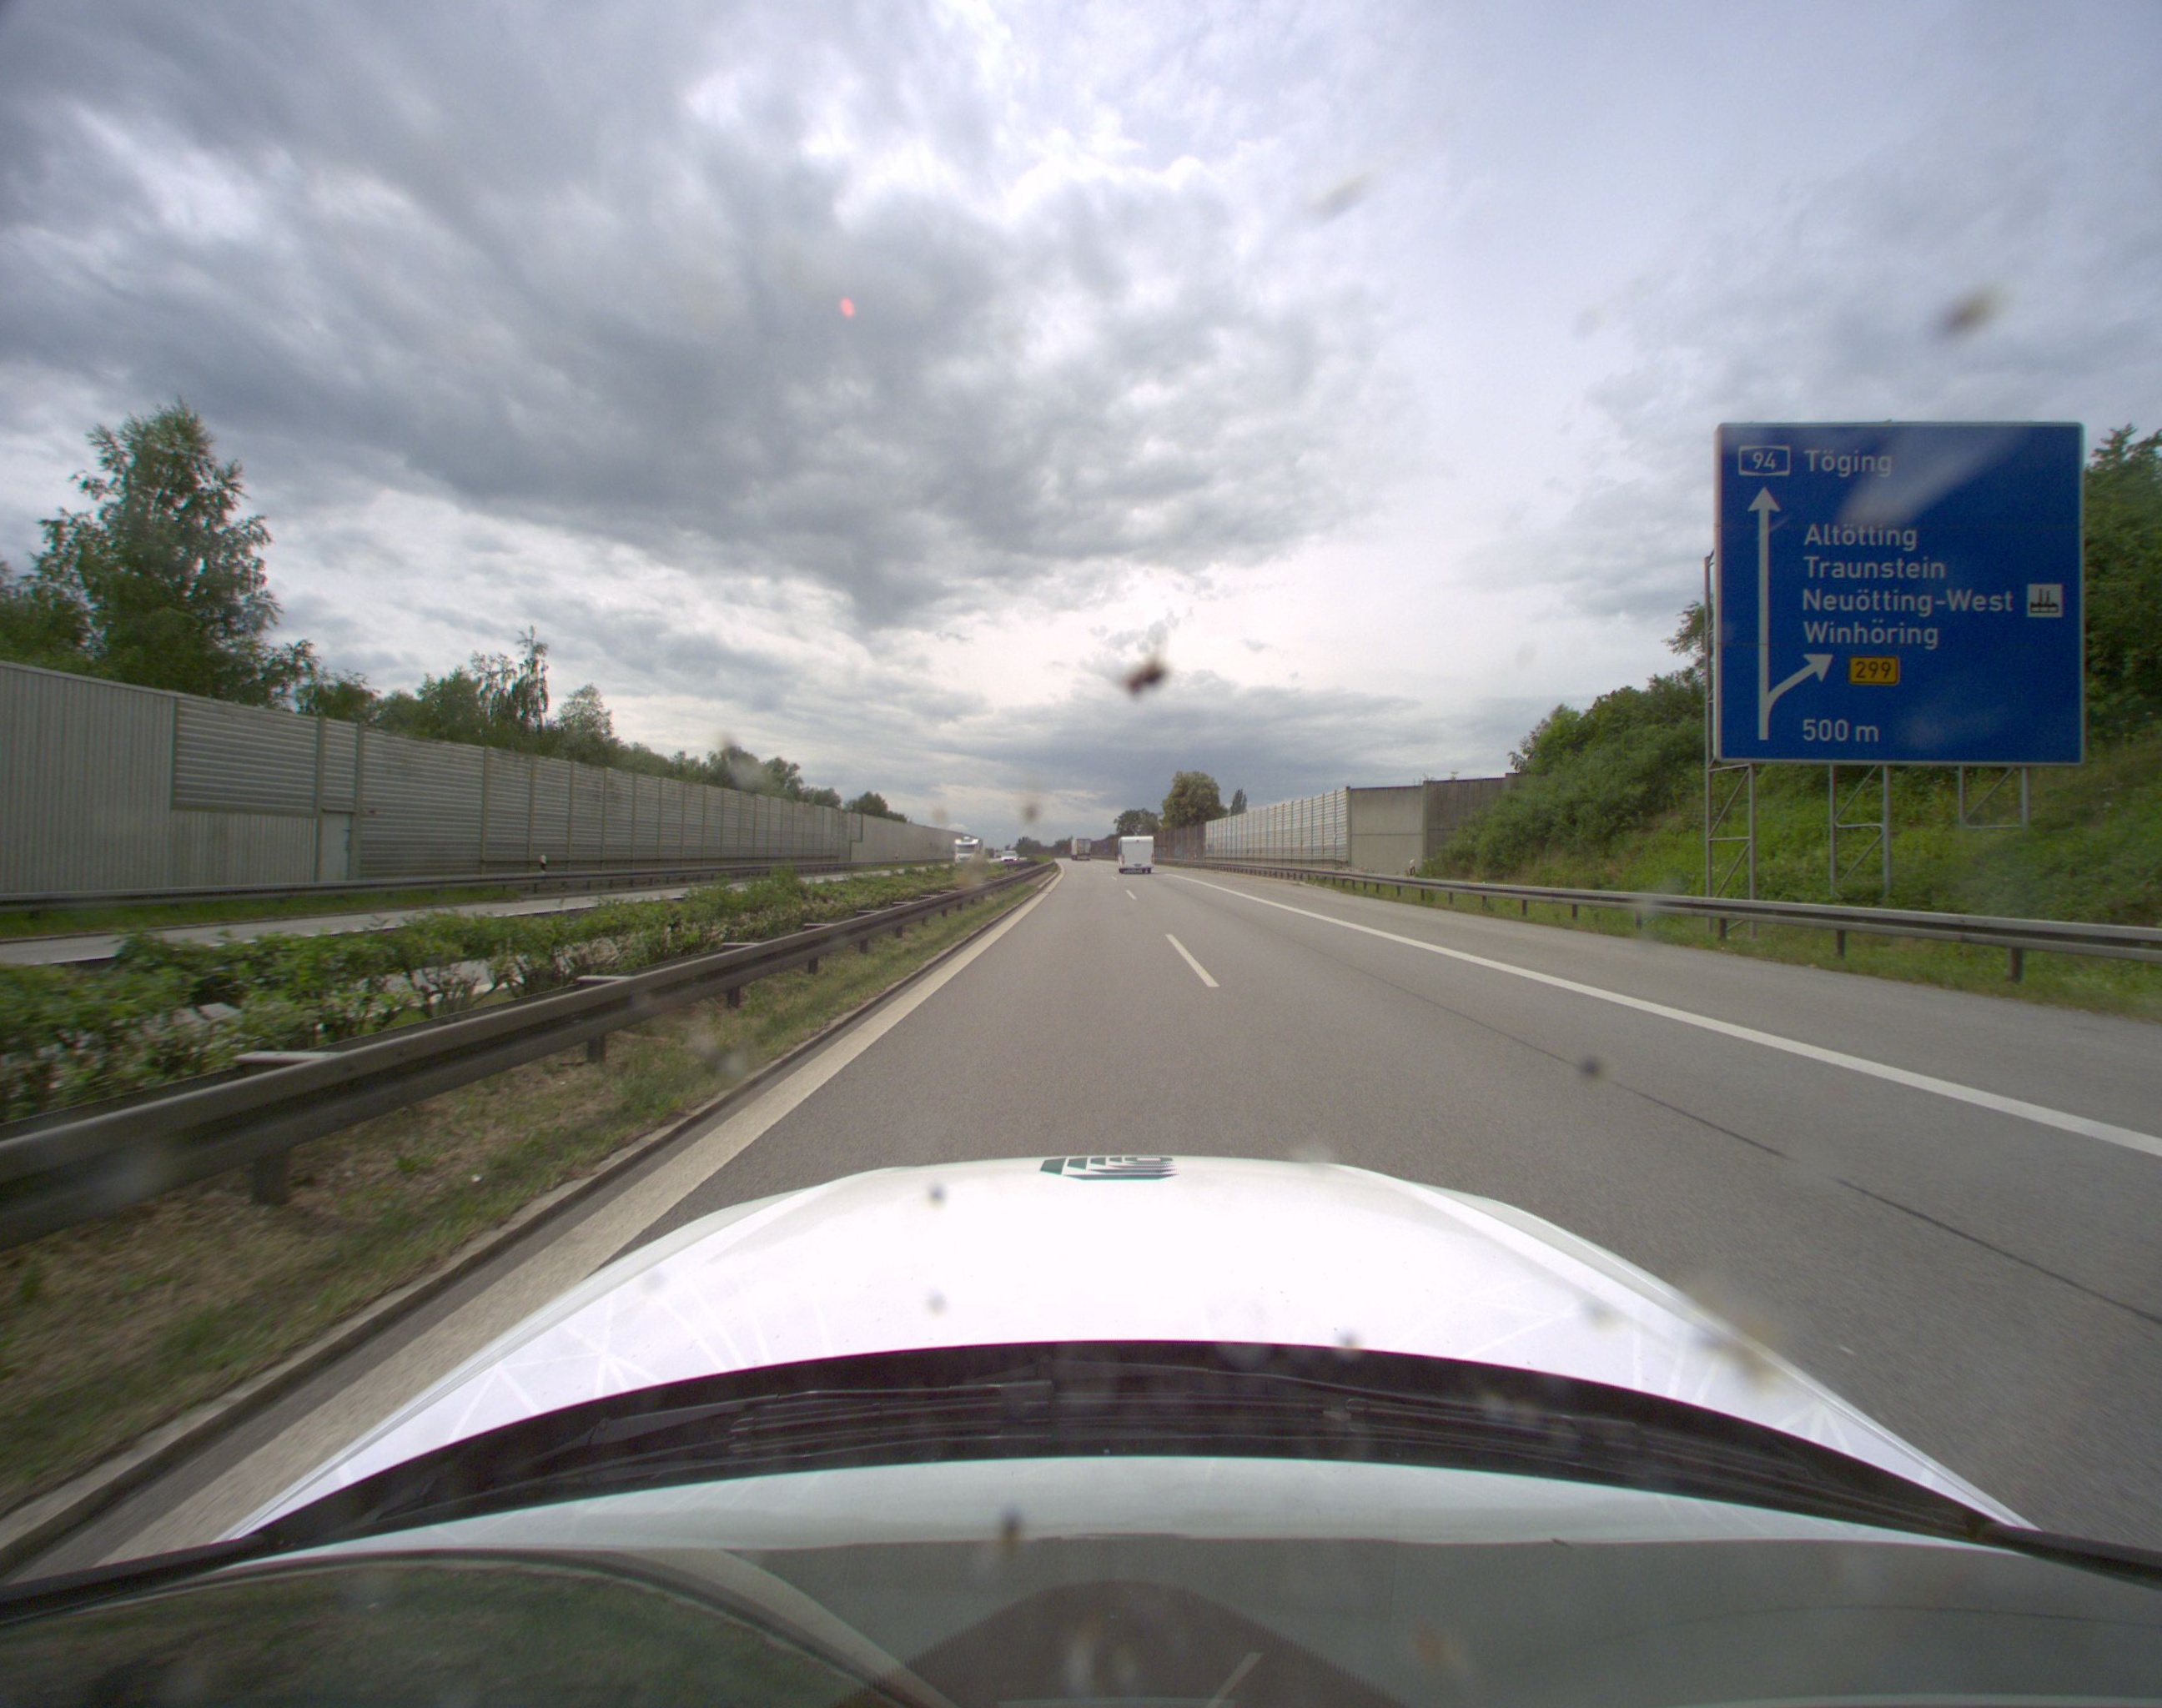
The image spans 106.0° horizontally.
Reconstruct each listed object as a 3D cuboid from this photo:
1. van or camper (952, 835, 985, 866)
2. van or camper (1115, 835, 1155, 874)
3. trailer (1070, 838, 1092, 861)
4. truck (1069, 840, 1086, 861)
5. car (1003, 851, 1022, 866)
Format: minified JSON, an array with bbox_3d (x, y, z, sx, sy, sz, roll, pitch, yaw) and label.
[{"bbox_3d":[-11.137,-0.341,81.409,2.460,2.869,7.762,-1,0,-2],"label":"van or camper"},{"bbox_3d":[3.907,0.029,60.332,2.421,2.696,7.224,0,0,0],"label":"van or camper"},{"bbox_3d":[-0.056,-0.753,153.393,2.789,4.175,14.074,-1,-1,-5],"label":"trailer"},{"bbox_3d":[-0.652,-0.596,160.137,2.753,3.960,5.664,-1,-1,-7],"label":"truck"},{"bbox_3d":[-7.008,0.458,83.639,1.688,1.420,4.643,-1,0,-2],"label":"car"}]
